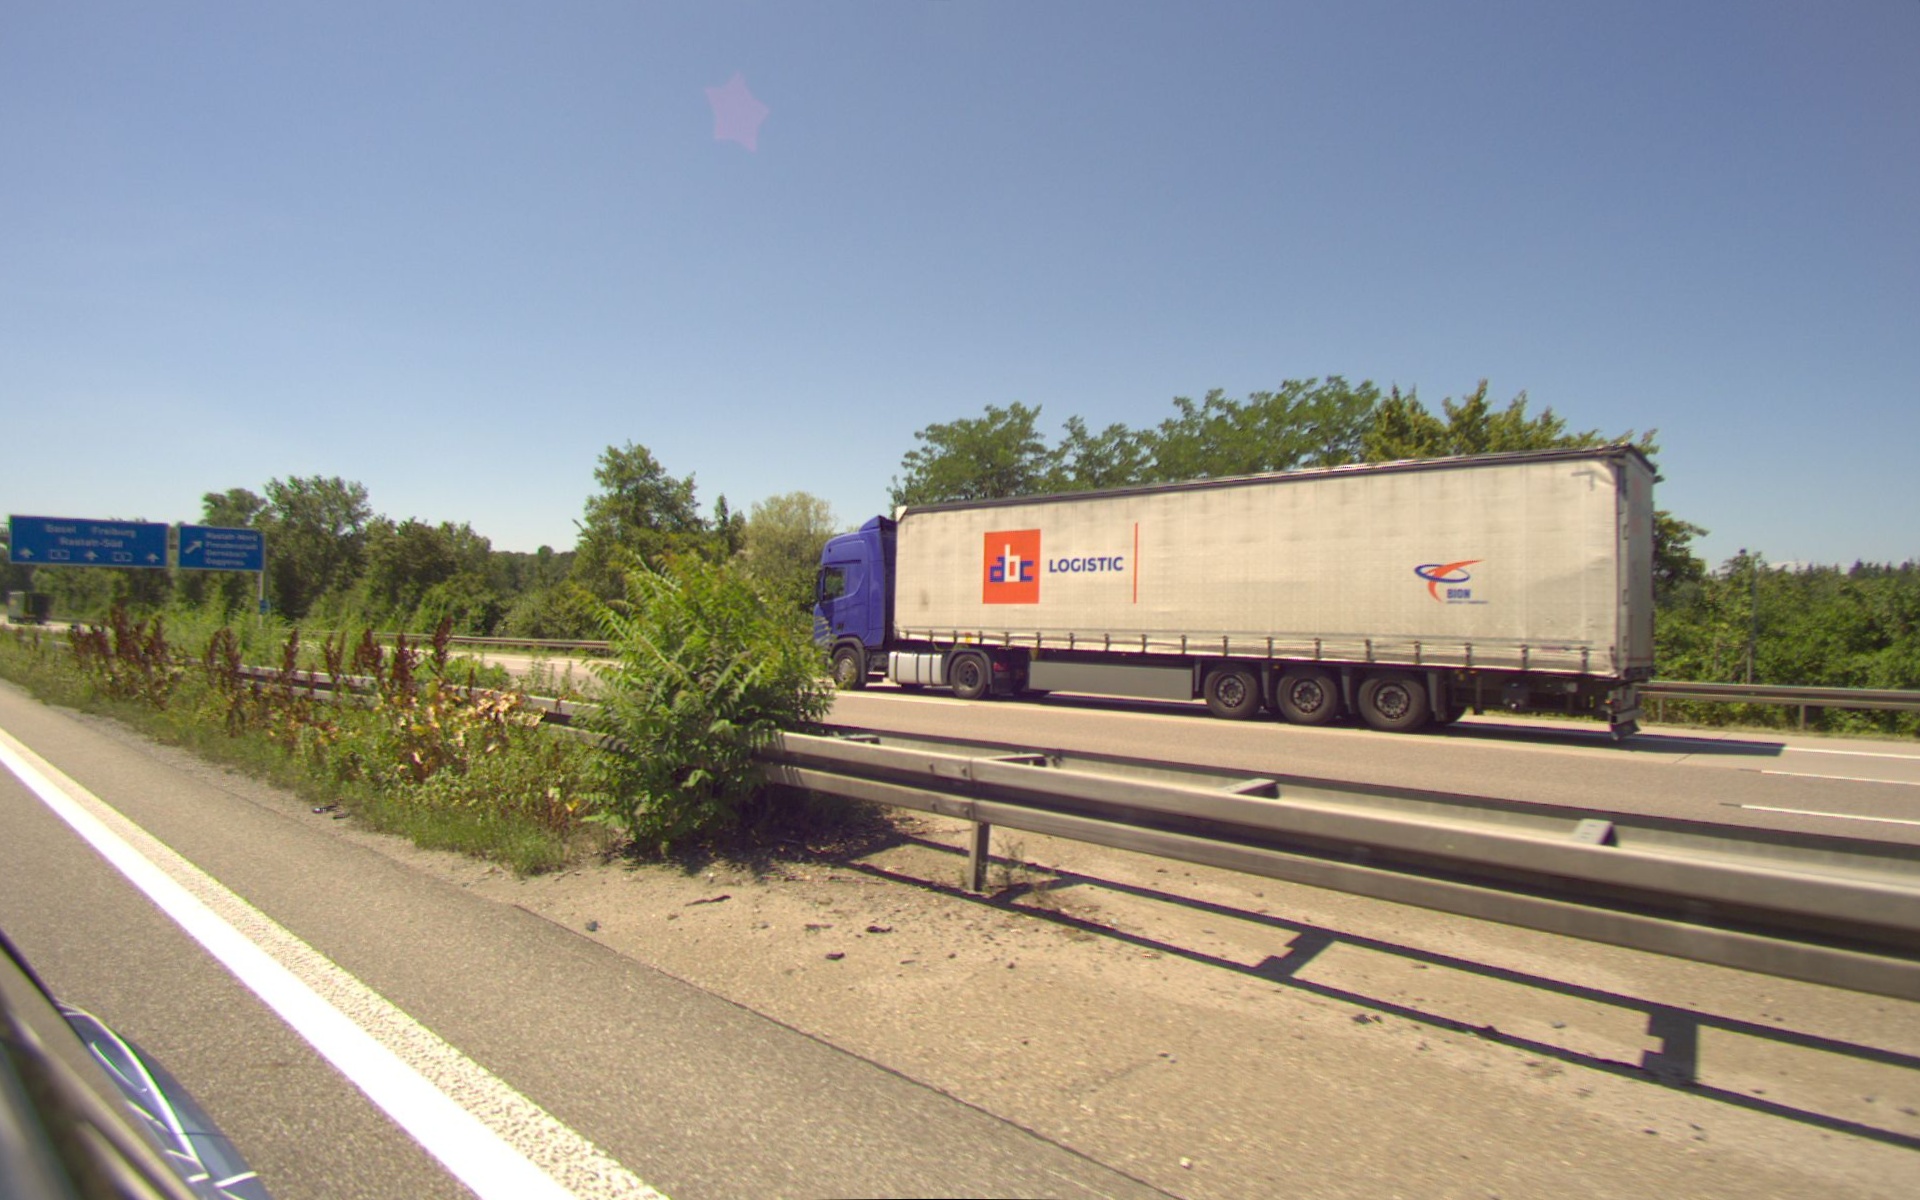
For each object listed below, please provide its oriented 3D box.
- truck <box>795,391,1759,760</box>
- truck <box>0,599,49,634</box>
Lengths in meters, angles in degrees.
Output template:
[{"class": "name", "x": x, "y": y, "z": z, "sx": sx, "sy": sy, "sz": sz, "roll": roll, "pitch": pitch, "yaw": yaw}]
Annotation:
[{"class": "truck", "x": 3.697, "y": -0.151, "z": 18.876, "sx": 17.463, "sy": 4.375, "sz": 2.924, "roll": -1, "pitch": -3, "yaw": 42}, {"class": "truck", "x": -122.426, "y": 2.153, "z": 132.295, "sx": 18.234, "sy": 4.375, "sz": 2.924, "roll": -1, "pitch": -2, "yaw": 42}]
